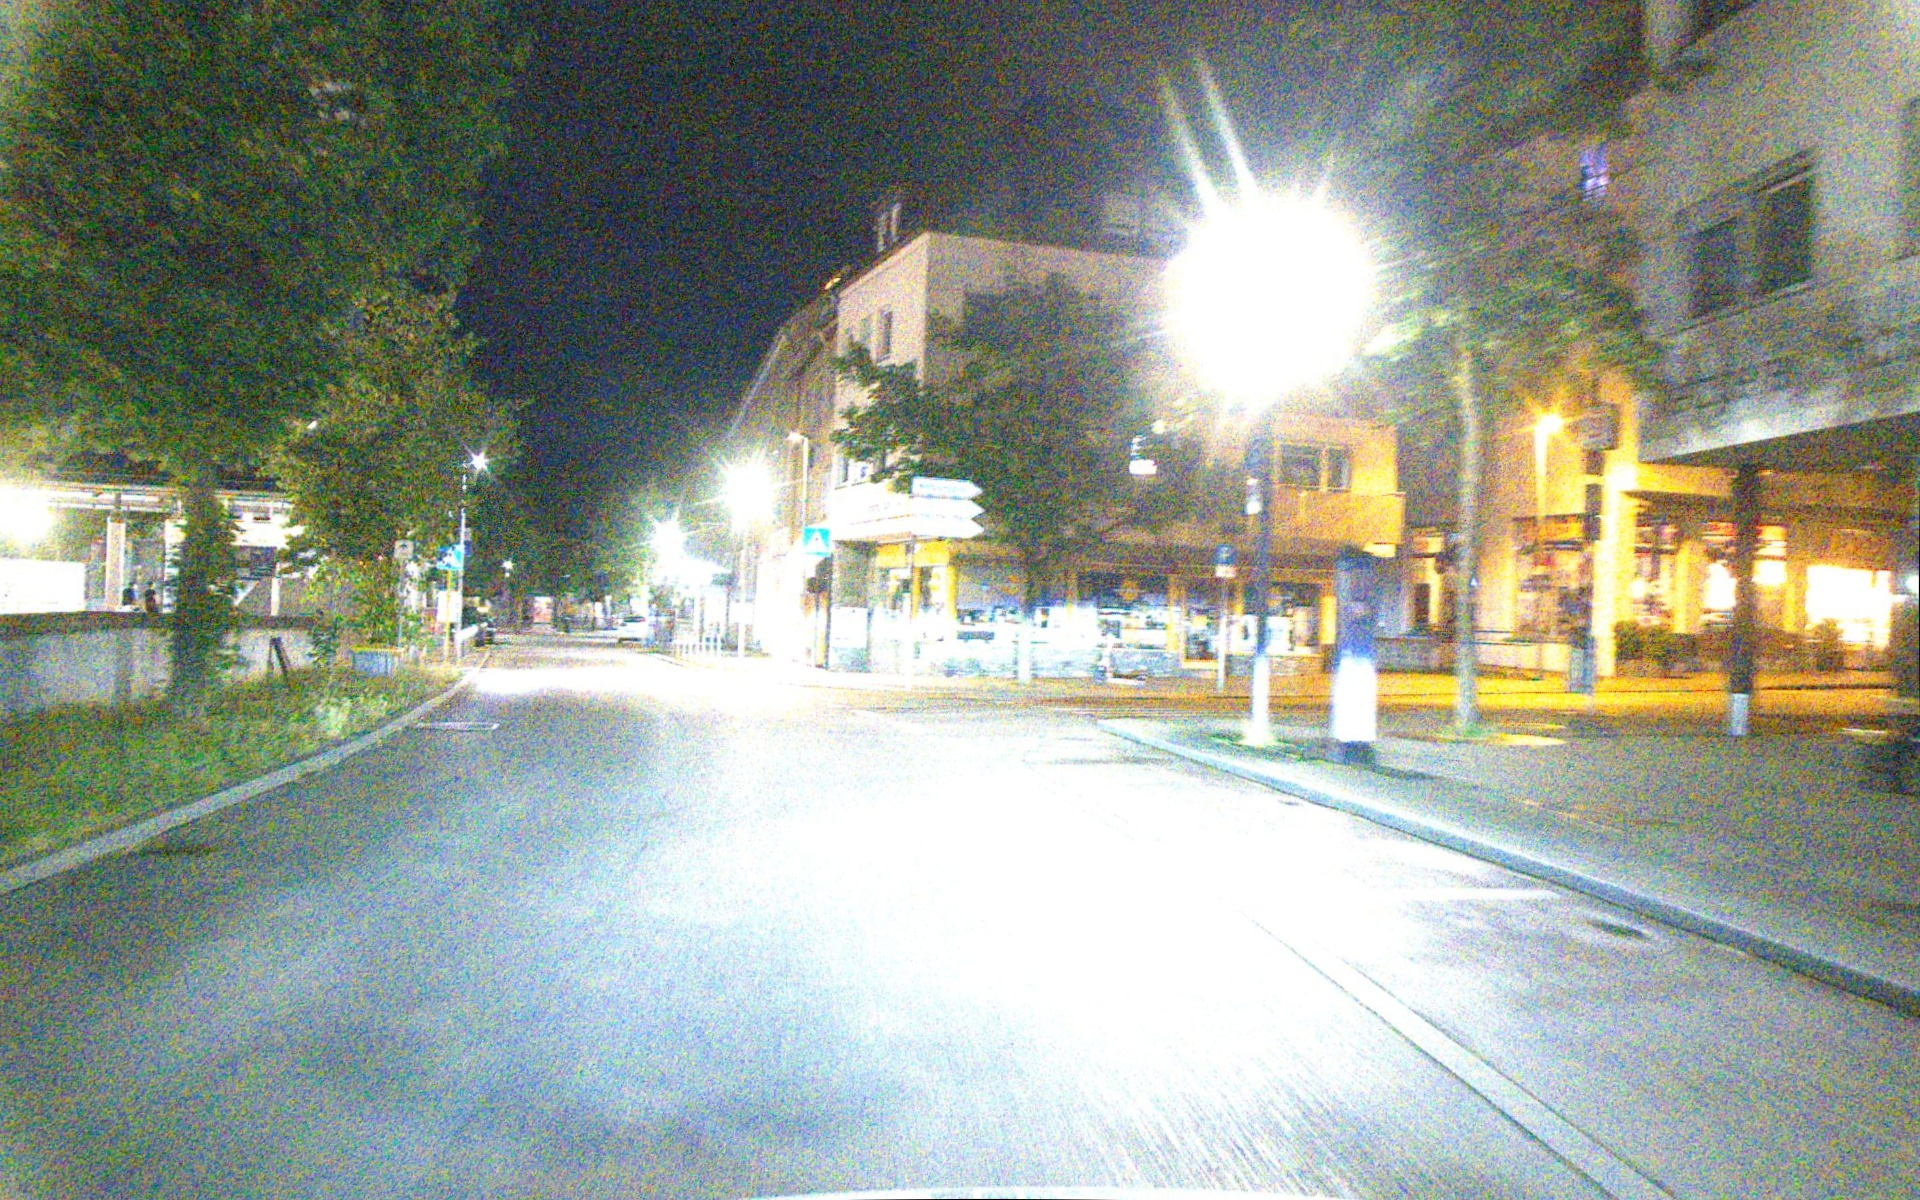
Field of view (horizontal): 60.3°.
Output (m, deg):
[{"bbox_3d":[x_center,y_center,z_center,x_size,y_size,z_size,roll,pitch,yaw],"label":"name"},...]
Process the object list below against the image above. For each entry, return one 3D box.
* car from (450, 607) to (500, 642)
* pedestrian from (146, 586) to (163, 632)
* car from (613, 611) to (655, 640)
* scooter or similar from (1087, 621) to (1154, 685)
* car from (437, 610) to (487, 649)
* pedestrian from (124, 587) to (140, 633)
[{"bbox_3d":[-22.114,1.077,75.284,1.808,1.478,3.973,0,1,-22],"label":"car"},{"bbox_3d":[-27.947,0.319,57.397,0.521,1.573,0.507,0,0,-25],"label":"pedestrian"},{"bbox_3d":[-16.974,1.289,86.052,1.804,1.382,3.982,0,1,-16],"label":"car"},{"bbox_3d":[3.298,1.083,34.065,1.223,1.248,0.597,2,0,-9],"label":"scooter or similar"},{"bbox_3d":[-19.516,1.167,64.896,1.804,1.478,3.983,0,-1,-16],"label":"car"},{"bbox_3d":[-28.665,0.339,57.271,0.452,1.573,0.478,0,0,-22],"label":"pedestrian"}]
